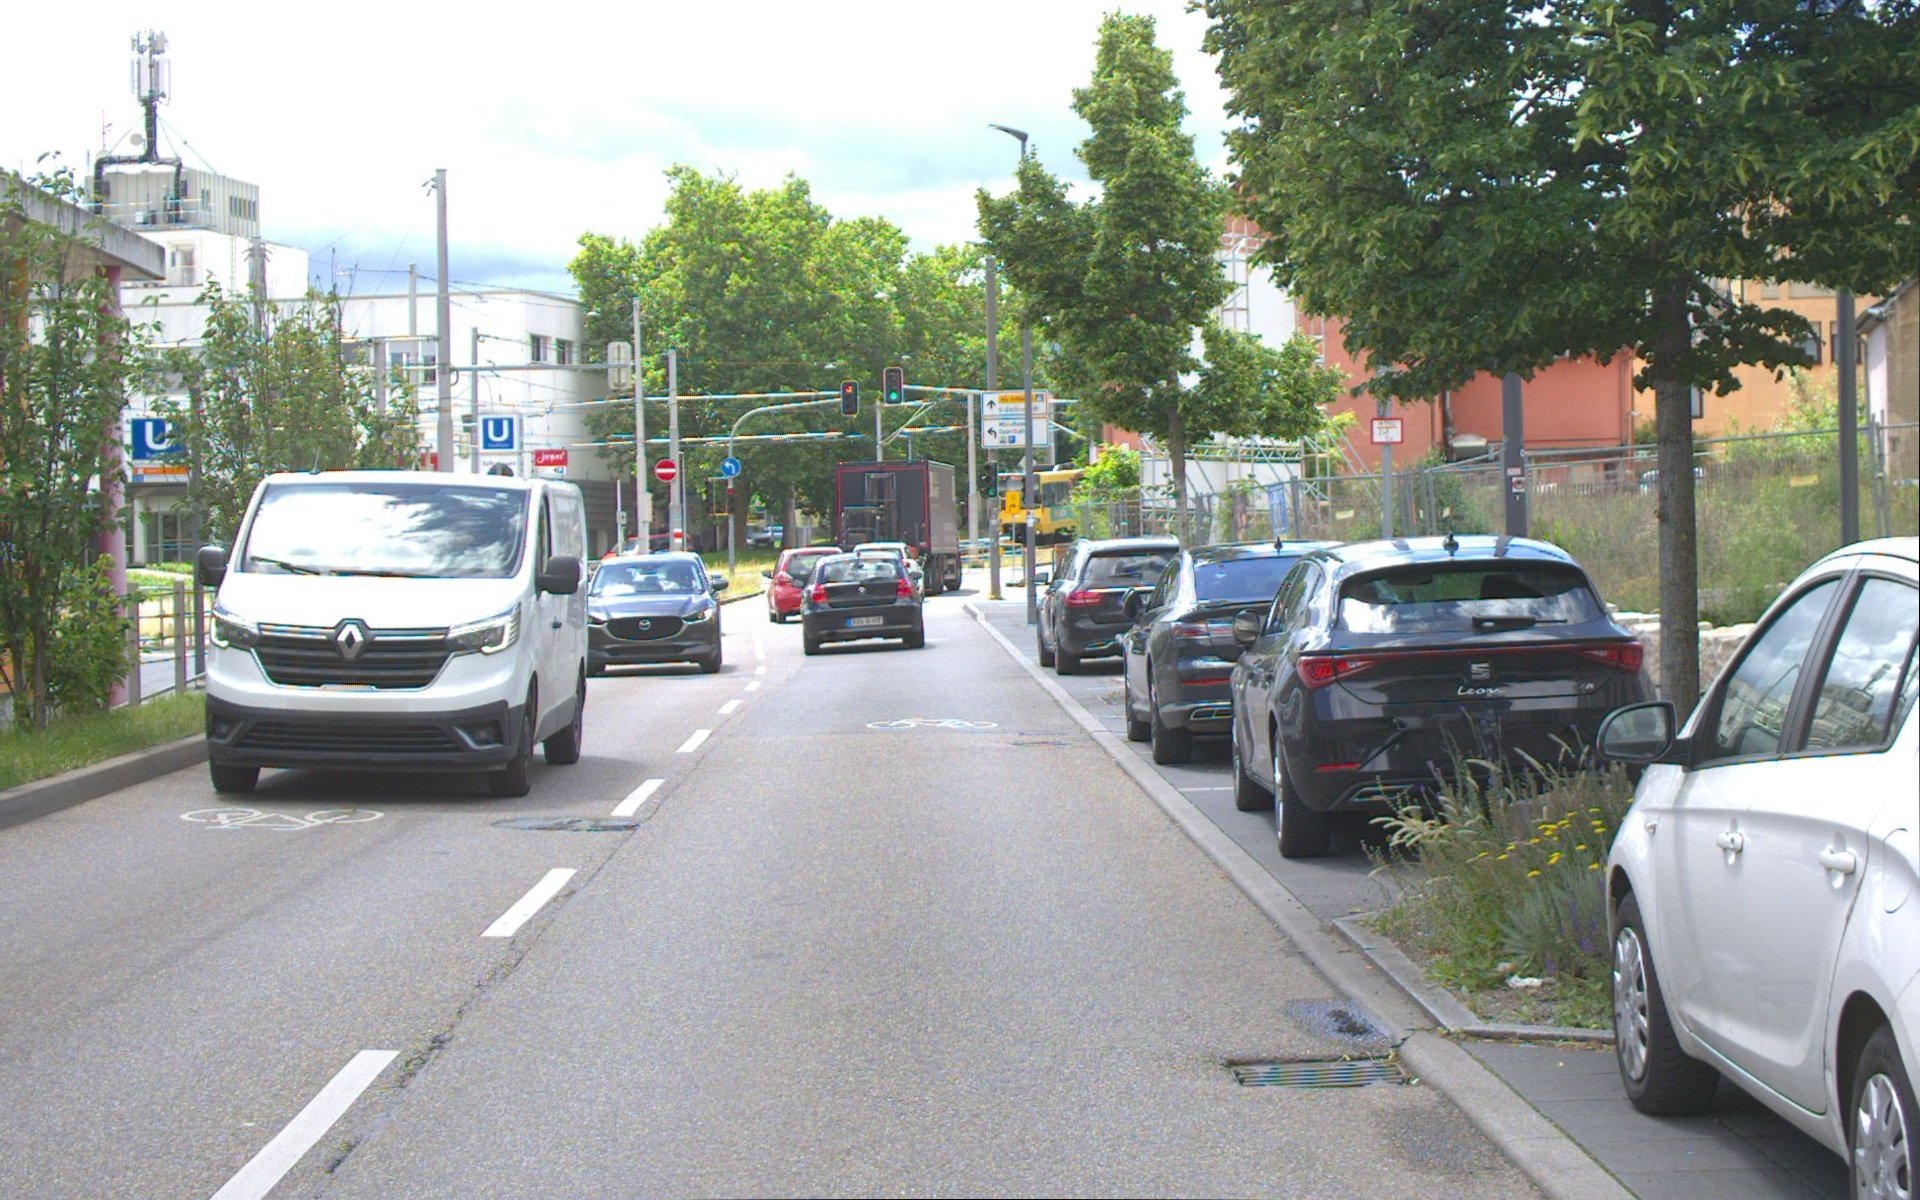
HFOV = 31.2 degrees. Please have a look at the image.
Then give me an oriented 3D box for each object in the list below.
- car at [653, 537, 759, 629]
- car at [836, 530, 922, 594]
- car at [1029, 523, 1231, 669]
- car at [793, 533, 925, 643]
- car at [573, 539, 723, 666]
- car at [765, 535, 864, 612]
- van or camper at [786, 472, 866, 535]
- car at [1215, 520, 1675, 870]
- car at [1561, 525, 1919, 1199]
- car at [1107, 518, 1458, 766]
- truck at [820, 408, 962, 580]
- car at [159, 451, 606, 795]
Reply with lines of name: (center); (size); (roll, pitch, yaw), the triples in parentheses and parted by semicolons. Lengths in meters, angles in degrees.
car: (-4.499, -0.334, 60.920); (1.770, 1.503, 4.001); (-2, 1, -4)
car: (-2.006, -0.917, 84.265); (1.888, 1.460, 4.070); (-2, 0, -4)
car: (1.823, -0.087, 38.172); (1.782, 1.447, 4.477); (-3, 1, -2)
car: (-1.490, -0.208, 49.760); (1.726, 1.451, 3.809); (-2, 2, -4)
car: (-3.948, 0.004, 44.021); (1.724, 1.516, 4.255); (1, 1, -3)
car: (-2.886, -0.546, 67.511); (1.711, 1.388, 3.809); (-2, 2, -5)
van or camper: (-6.494, -4.679, 167.520); (2.176, 2.796, 6.065); (0, -1, 15)
car: (2.273, 0.376, 17.084); (1.692, 1.456, 4.147); (-2, 1, 1)
car: (2.483, 0.577, 7.499); (1.692, 1.478, 3.797); (-2, 1, 1)
car: (2.087, 0.218, 23.518); (1.865, 1.446, 4.644); (-2, 1, 0)
truck: (-1.865, -2.874, 96.878); (3.203, 4.520, 9.027); (0, 0, 4)
car: (-3.489, 0.091, 21.737); (2.004, 1.910, 5.065); (0, 1, 0)
